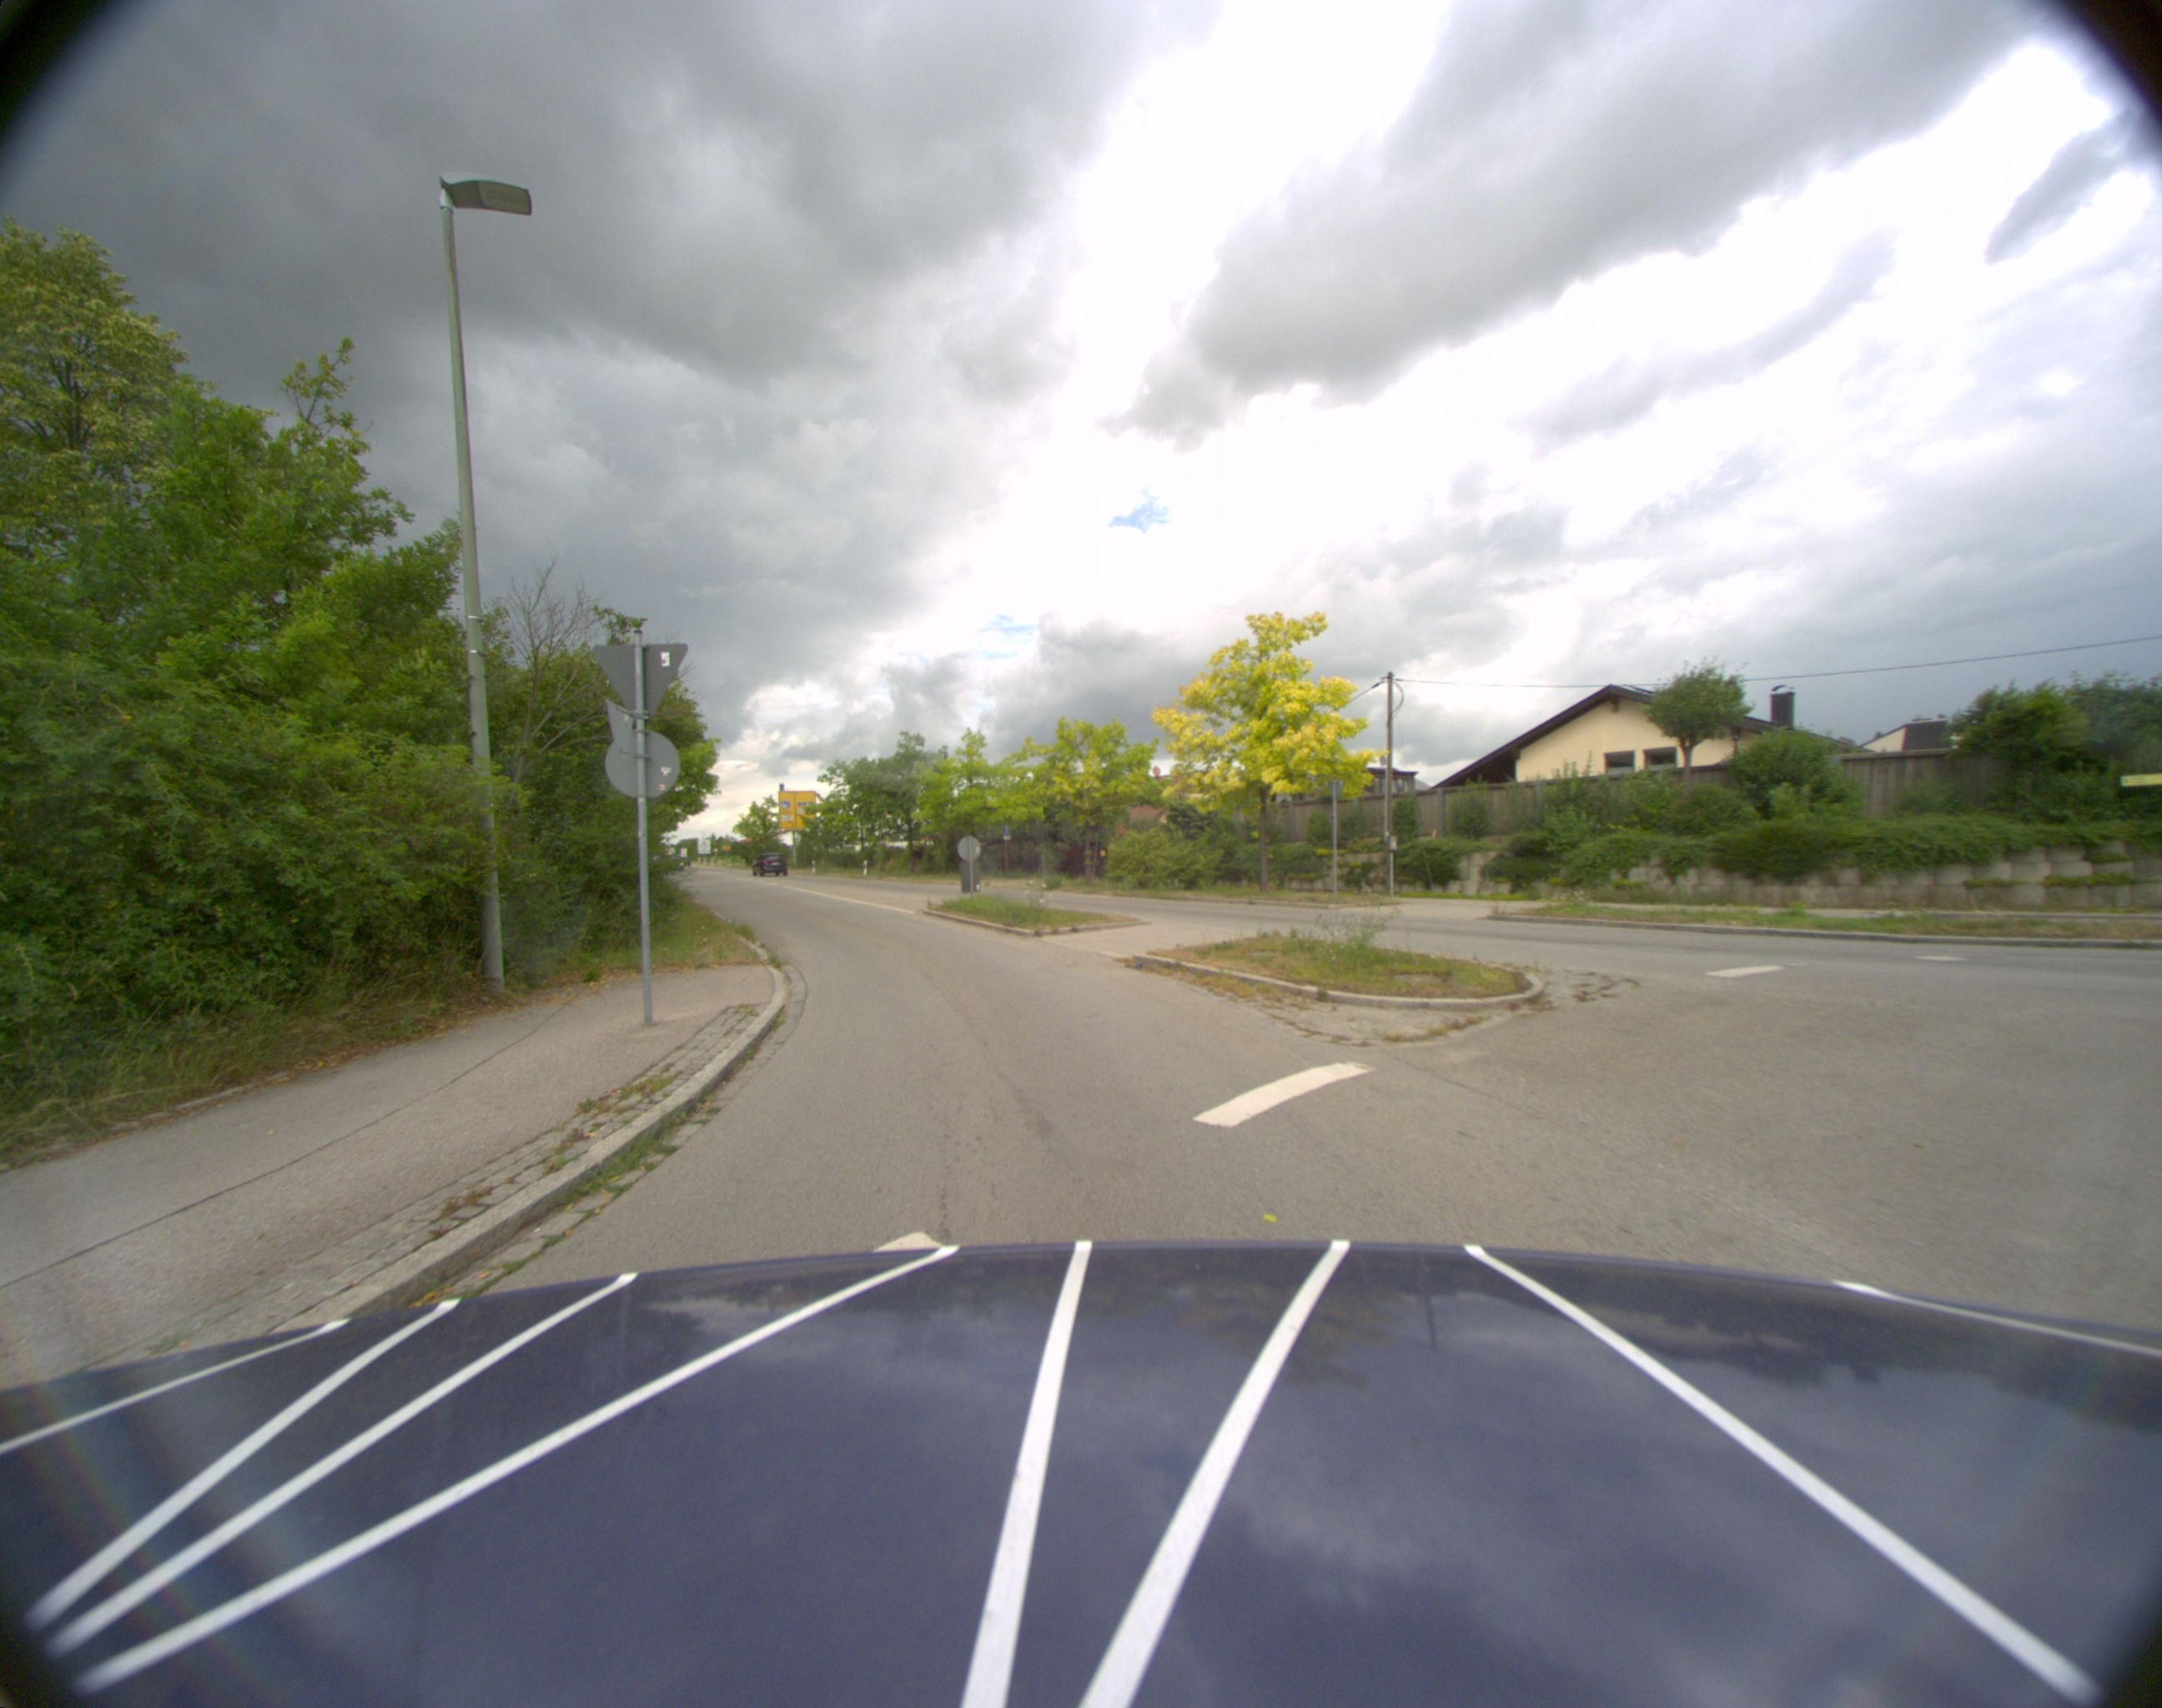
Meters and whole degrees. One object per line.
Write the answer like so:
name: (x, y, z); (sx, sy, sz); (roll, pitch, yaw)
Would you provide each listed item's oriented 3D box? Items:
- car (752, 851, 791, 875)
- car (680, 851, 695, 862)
car: (-21.836, 0.612, 53.529); (1.747, 1.576, 4.345); (0, 0, -32)
car: (-60.930, 0.384, 117.595); (1.742, 1.525, 4.085); (-1, 0, -31)
